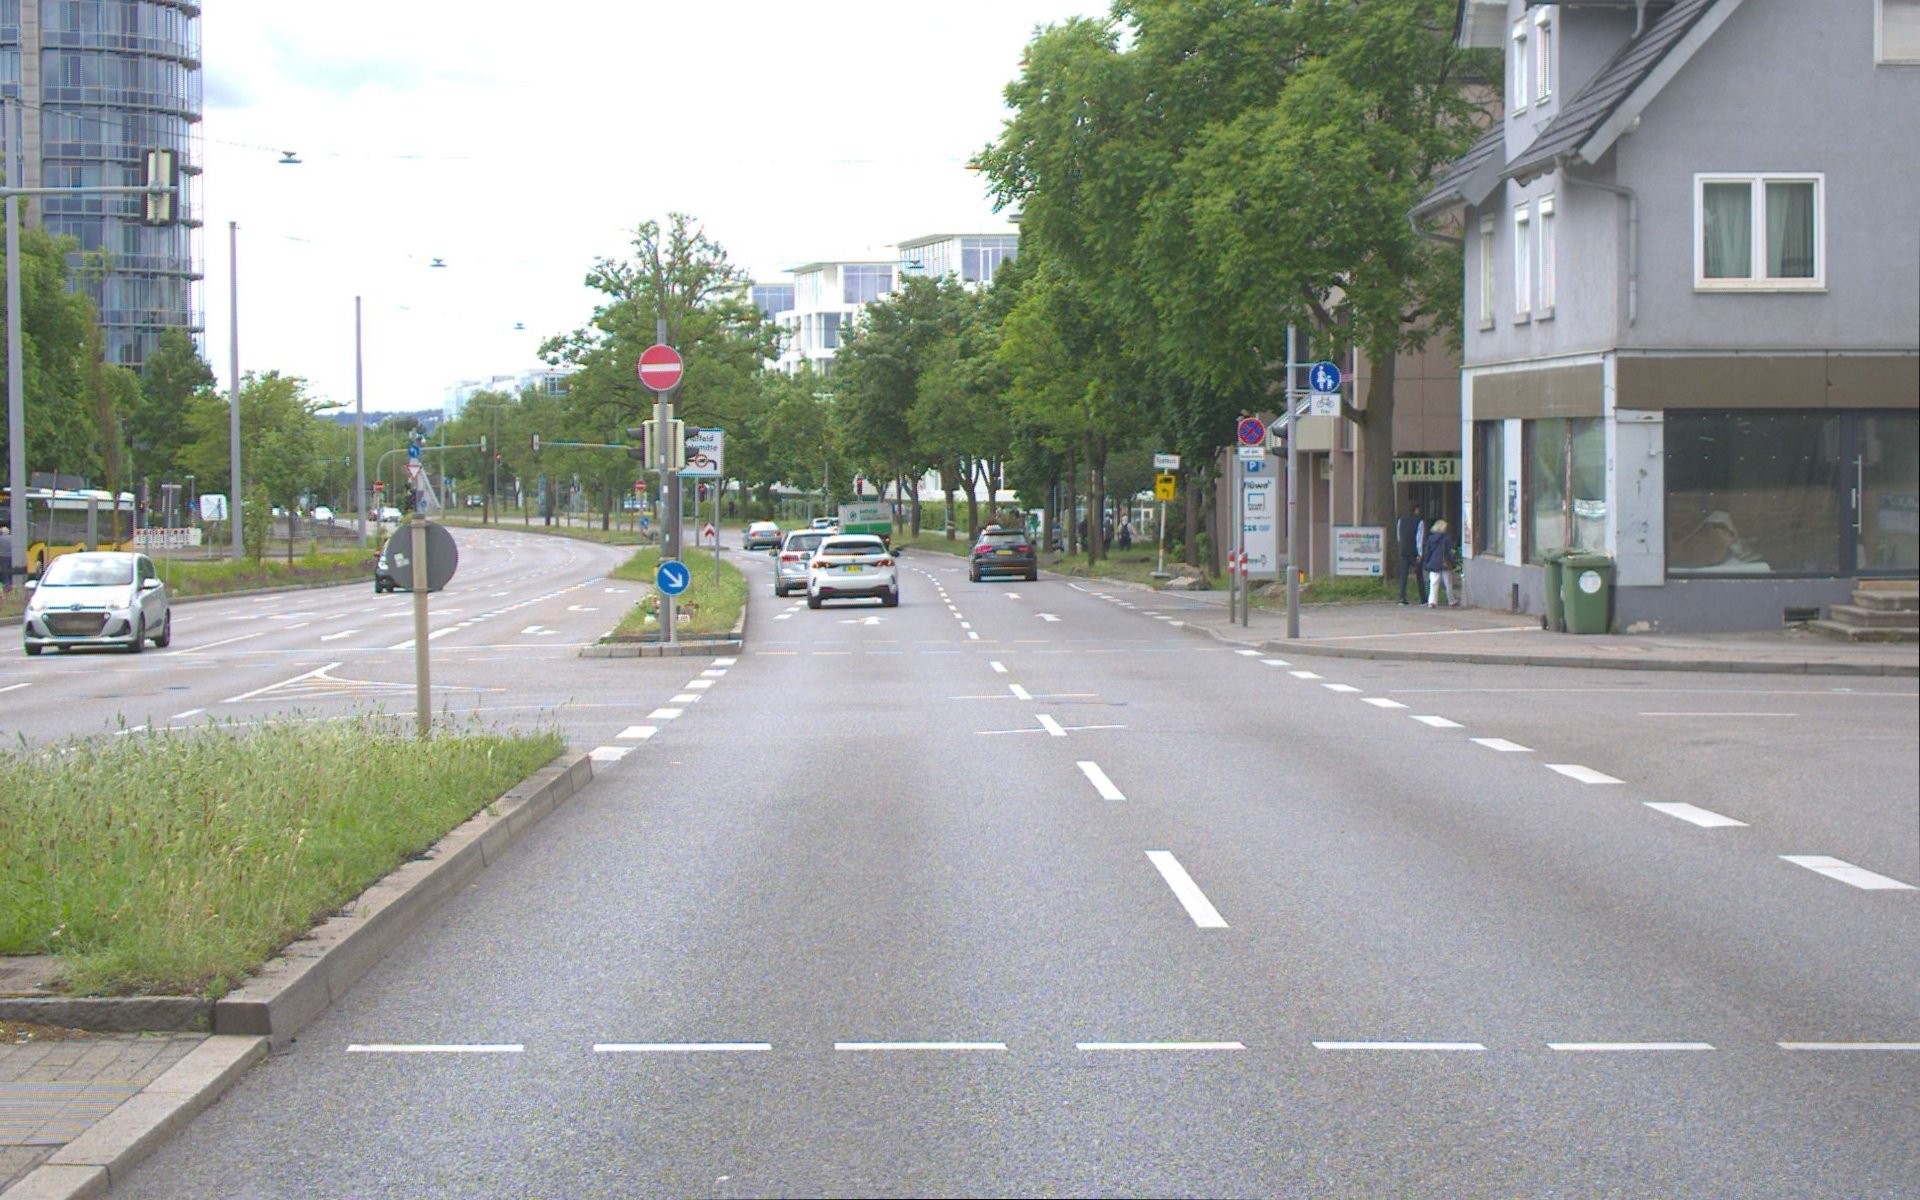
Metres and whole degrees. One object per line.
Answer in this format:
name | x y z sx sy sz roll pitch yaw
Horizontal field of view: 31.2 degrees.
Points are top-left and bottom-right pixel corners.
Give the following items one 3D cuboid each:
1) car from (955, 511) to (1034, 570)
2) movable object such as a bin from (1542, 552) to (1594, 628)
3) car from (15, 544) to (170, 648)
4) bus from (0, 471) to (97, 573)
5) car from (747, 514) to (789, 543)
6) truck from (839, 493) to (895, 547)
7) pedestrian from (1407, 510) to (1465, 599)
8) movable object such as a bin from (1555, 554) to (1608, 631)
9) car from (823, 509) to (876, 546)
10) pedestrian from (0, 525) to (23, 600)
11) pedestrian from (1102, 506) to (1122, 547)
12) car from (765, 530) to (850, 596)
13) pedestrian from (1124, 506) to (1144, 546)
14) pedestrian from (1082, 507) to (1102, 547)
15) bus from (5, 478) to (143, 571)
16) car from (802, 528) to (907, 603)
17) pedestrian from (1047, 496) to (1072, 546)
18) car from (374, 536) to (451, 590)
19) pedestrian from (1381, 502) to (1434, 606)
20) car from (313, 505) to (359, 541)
car | 0.924 -1.609 93.581 1.889 1.489 4.099 -2 0 -2
movable object such as a bin | 7.928 -0.131 44.836 0.529 0.976 0.736 -1 1 -1
car | -12.807 -0.087 50.923 1.684 1.457 3.556 -1 1 -5
bus | -31.393 -2.564 114.466 3.144 3.214 10.286 -1 1 -3
car | -9.683 -3.592 173.151 1.967 1.415 4.023 -1 1 -5
truck | -4.258 -3.641 156.467 2.251 2.408 4.934 0 1 -5
pedestrian | 8.149 -0.779 58.892 0.706 1.502 0.869 0 1 29
movable object such as a bin | 7.957 -0.100 44.046 0.529 0.976 0.736 -1 1 -1
car | -5.302 -3.473 165.064 2.251 1.751 4.934 -1 1 -5
pedestrian | -23.974 -0.944 86.390 0.661 1.891 0.686 -1 1 -29
pedestrian | 5.881 -2.844 133.280 0.650 1.564 0.671 -1 1 -8
car | -3.603 -0.898 81.902 1.822 1.535 4.114 0 1 0
pedestrian | 6.737 -2.869 133.120 0.650 1.564 0.671 -1 1 -8
pedestrian | 5.121 -2.830 133.354 0.650 1.564 0.671 -1 1 -8
bus | -31.731 -2.705 123.469 3.144 3.214 7.766 -1 1 -2
car | -2.141 -0.718 70.565 1.993 1.472 4.256 -1 1 0
pedestrian | 4.076 -3.236 140.737 0.971 2.007 0.981 1 0 -1
car | -15.538 -1.068 97.669 1.702 1.487 3.562 -1 1 -1
pedestrian | 7.777 -0.800 59.710 0.706 1.773 0.869 0 1 21
car | -36.323 -4.458 200.263 1.965 2.007 4.000 1 1 -1
